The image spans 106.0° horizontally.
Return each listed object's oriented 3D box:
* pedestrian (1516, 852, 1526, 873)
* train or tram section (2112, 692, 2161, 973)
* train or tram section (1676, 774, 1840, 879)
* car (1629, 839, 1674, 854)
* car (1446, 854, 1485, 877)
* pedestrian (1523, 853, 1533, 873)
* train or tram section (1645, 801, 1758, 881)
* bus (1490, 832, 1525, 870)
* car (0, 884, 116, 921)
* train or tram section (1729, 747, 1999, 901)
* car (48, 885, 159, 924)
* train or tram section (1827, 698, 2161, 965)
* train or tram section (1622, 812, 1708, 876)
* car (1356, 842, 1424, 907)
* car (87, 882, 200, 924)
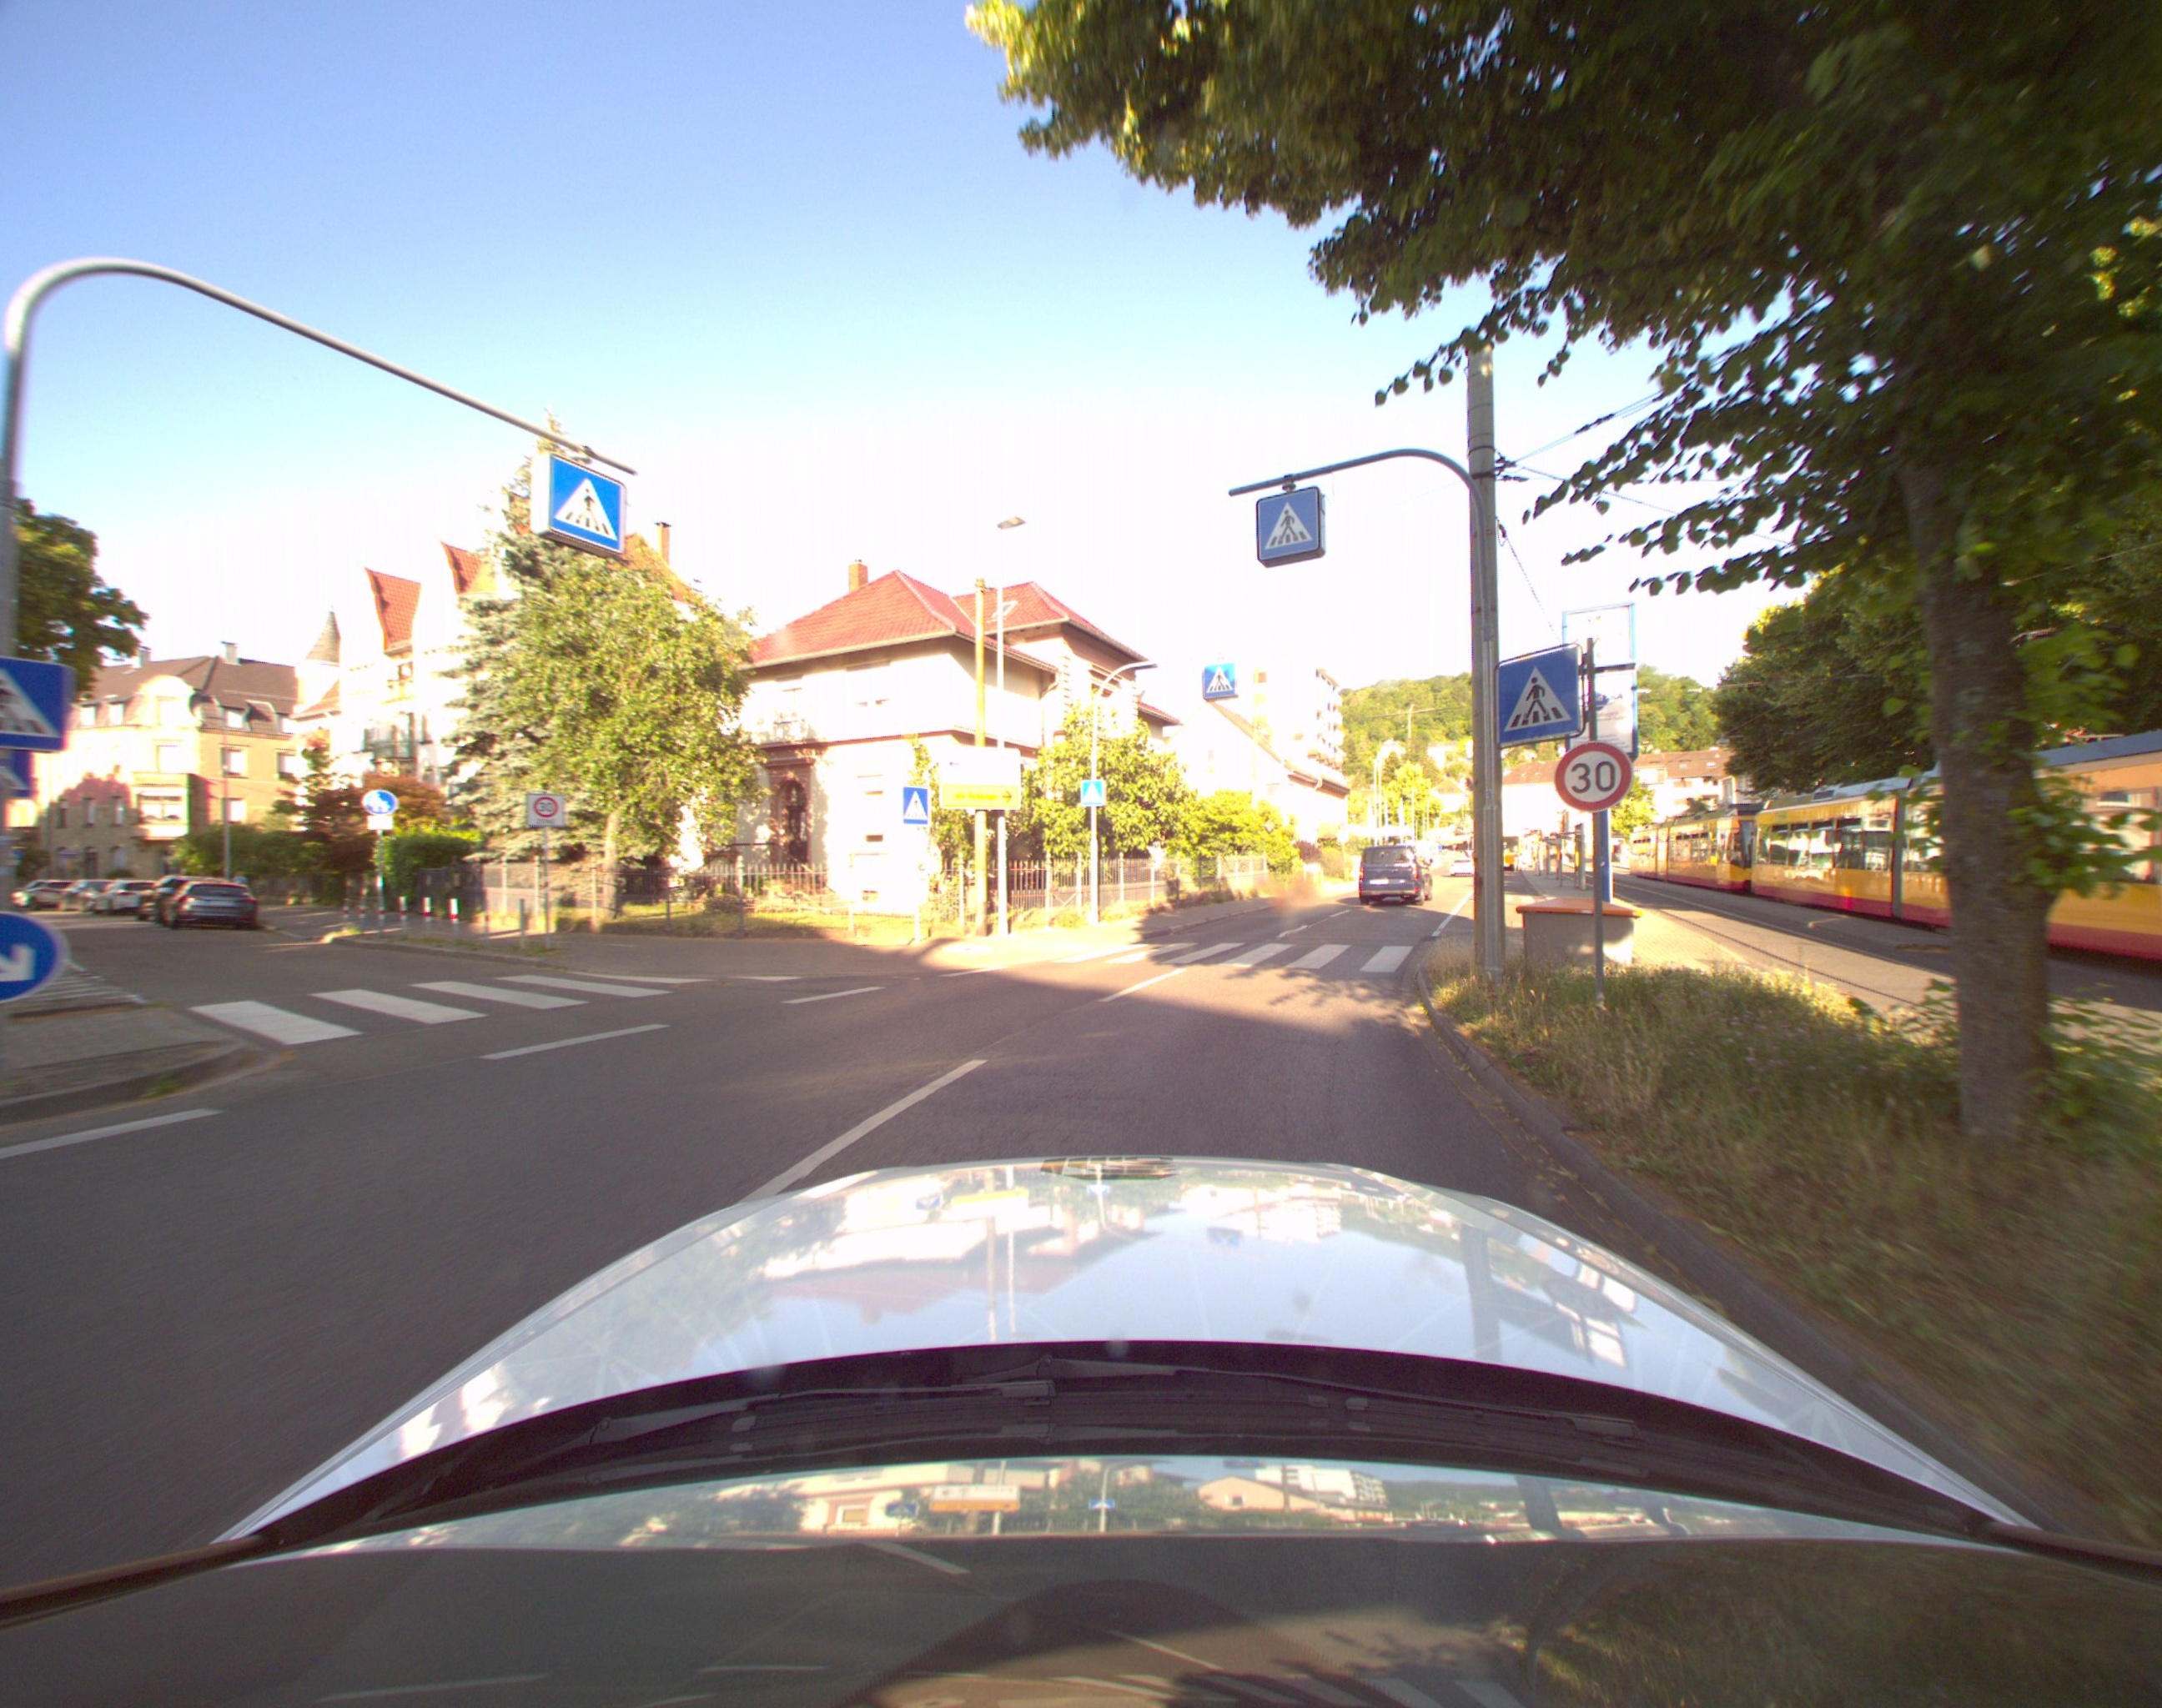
[{"bbox_3d":[37.927,0.737,70.161,0.545,1.767,0.548,0,-1,-24],"label":"pedestrian"},{"bbox_3d":[13.151,-0.250,5.930,2.750,3.555,9.977,-1,0,25],"label":"train or tram section"},{"bbox_3d":[26.606,-0.972,32.625,2.750,3.555,9.978,-1,0,26],"label":"train or tram section"},{"bbox_3d":[80.666,-1.090,115.227,5.162,2.014,2.012,-1,-1,31],"label":"car"},{"bbox_3d":[29.180,0.880,61.868,1.979,1.717,4.016,-1,-1,15],"label":"car"},{"bbox_3d":[38.186,0.776,69.586,0.545,1.767,0.548,0,-1,-24],"label":"pedestrian"},{"bbox_3d":[31.261,-0.614,41.480,2.749,3.555,9.979,-1,0,27],"label":"train or tram section"},{"bbox_3d":[39.814,-0.210,76.088,2.679,3.291,10.271,-1,-1,27],"label":"bus"},{"bbox_3d":[-49.521,2.306,39.385,4.869,1.596,2.361,-1,-1,24],"label":"car"},{"bbox_3d":[22.023,-0.714,23.780,2.750,3.555,9.978,-1,0,26],"label":"train or tram section"},{"bbox_3d":[-44.285,2.231,36.895,4.866,1.596,2.362,-1,-1,29],"label":"car"},{"bbox_3d":[17.414,-0.353,14.946,2.750,3.555,9.978,-1,0,26],"label":"train or tram section"},{"bbox_3d":[35.817,-0.562,50.343,2.749,3.555,9.979,-1,0,27],"label":"train or tram section"},{"bbox_3d":[10.563,0.643,27.695,1.976,2.013,4.022,0,0,23],"label":"car"},{"bbox_3d":[-39.542,1.994,34.327,4.866,1.596,2.362,-1,-1,32],"label":"car"}]
